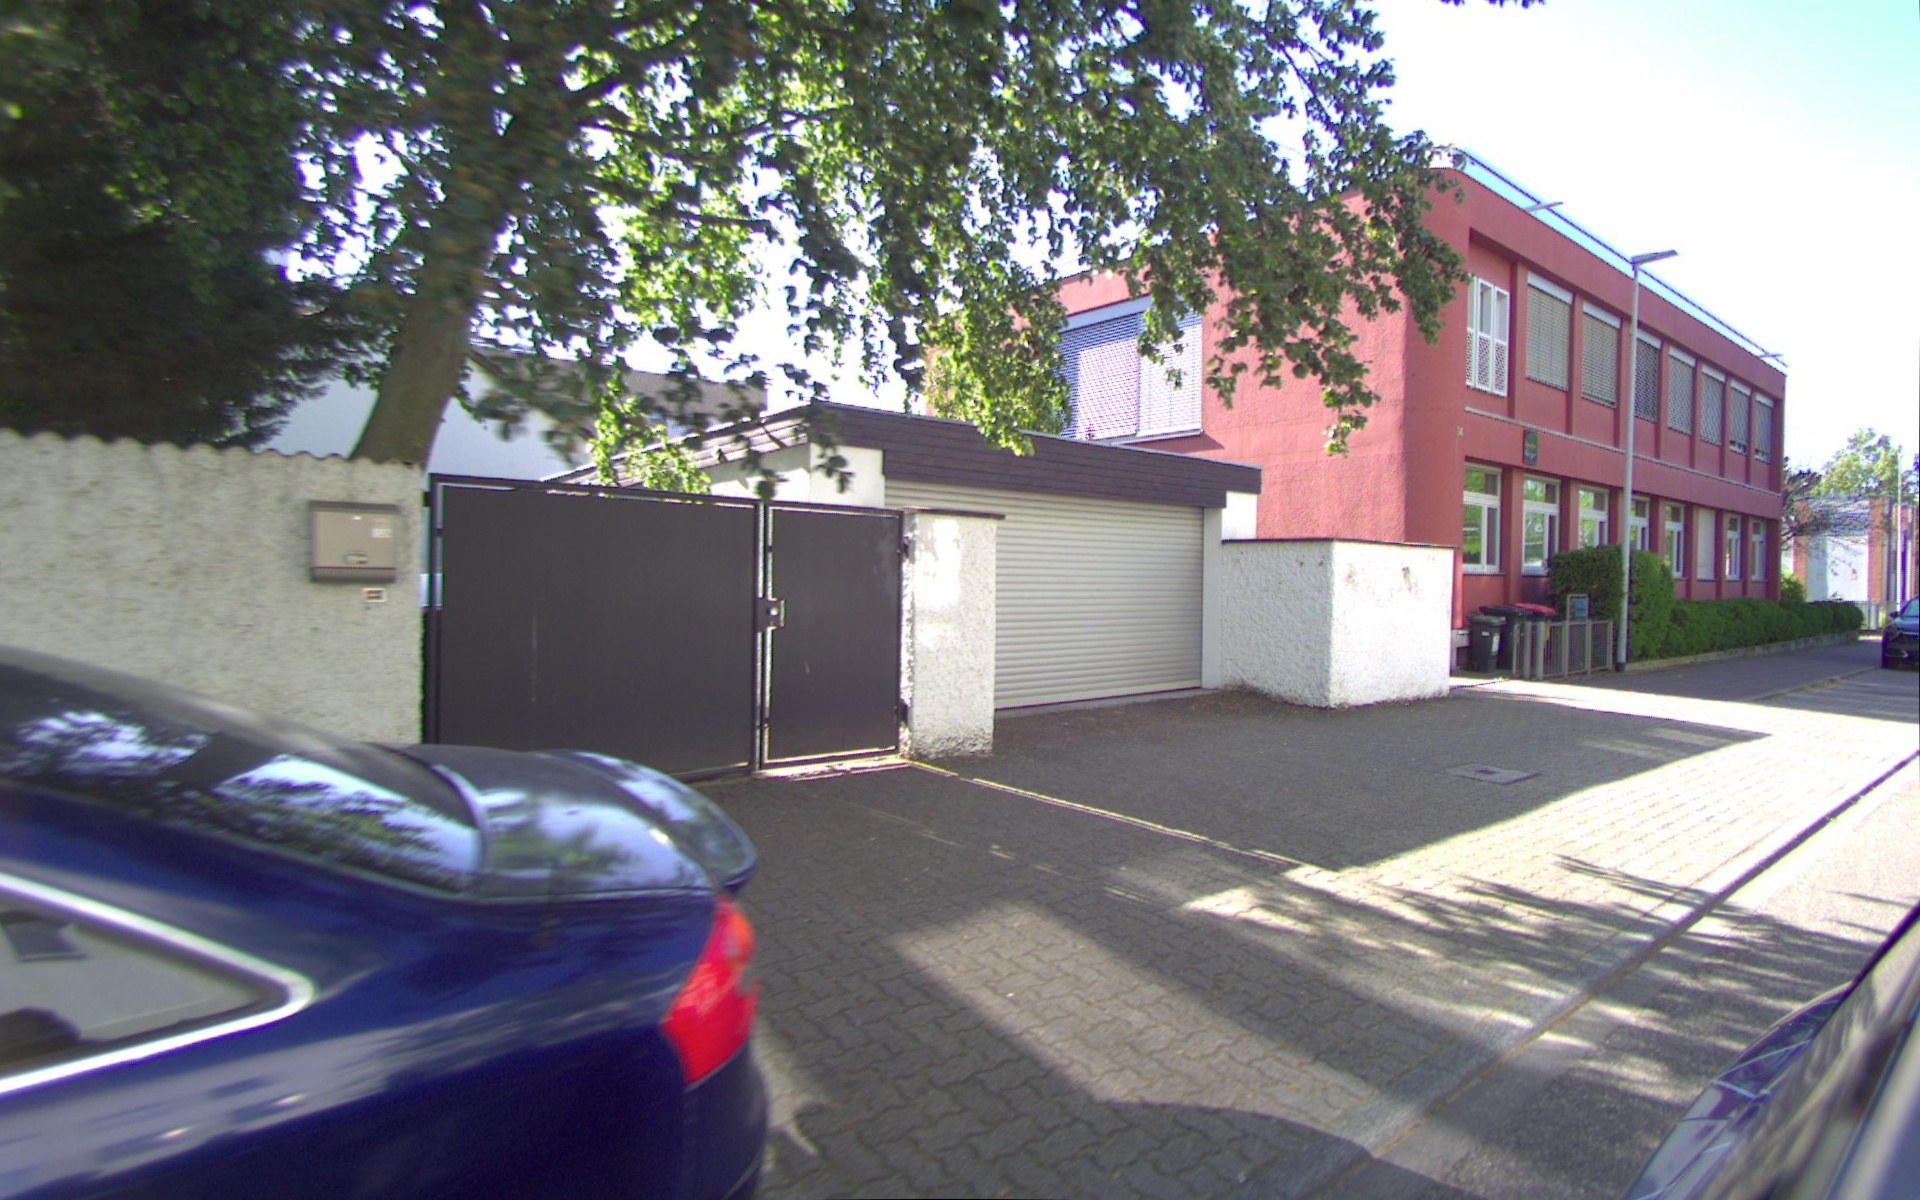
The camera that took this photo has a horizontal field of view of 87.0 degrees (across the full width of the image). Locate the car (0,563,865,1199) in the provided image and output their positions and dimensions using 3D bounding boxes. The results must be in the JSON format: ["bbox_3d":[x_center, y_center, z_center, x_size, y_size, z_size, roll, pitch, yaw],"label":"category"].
[{"bbox_3d":[-2.361,0.674,1.011,4.206,1.441,1.830,0,2,-40],"label":"car"}]

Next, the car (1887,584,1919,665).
[{"bbox_3d":[21.708,0.526,21.835,4.294,1.650,1.903,0,2,-40],"label":"car"}]

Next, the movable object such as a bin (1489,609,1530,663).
[{"bbox_3d":[9.482,0.611,17.460,0.466,0.912,0.478,0,0,-38],"label":"movable object such as a bin"}]

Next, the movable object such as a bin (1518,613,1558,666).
[{"bbox_3d":[10.279,0.688,18.007,0.466,0.912,0.478,0,0,-38],"label":"movable object such as a bin"}]

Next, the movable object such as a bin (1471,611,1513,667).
[{"bbox_3d":[8.952,0.641,17.024,0.466,0.912,0.478,0,0,-38],"label":"movable object such as a bin"}]
